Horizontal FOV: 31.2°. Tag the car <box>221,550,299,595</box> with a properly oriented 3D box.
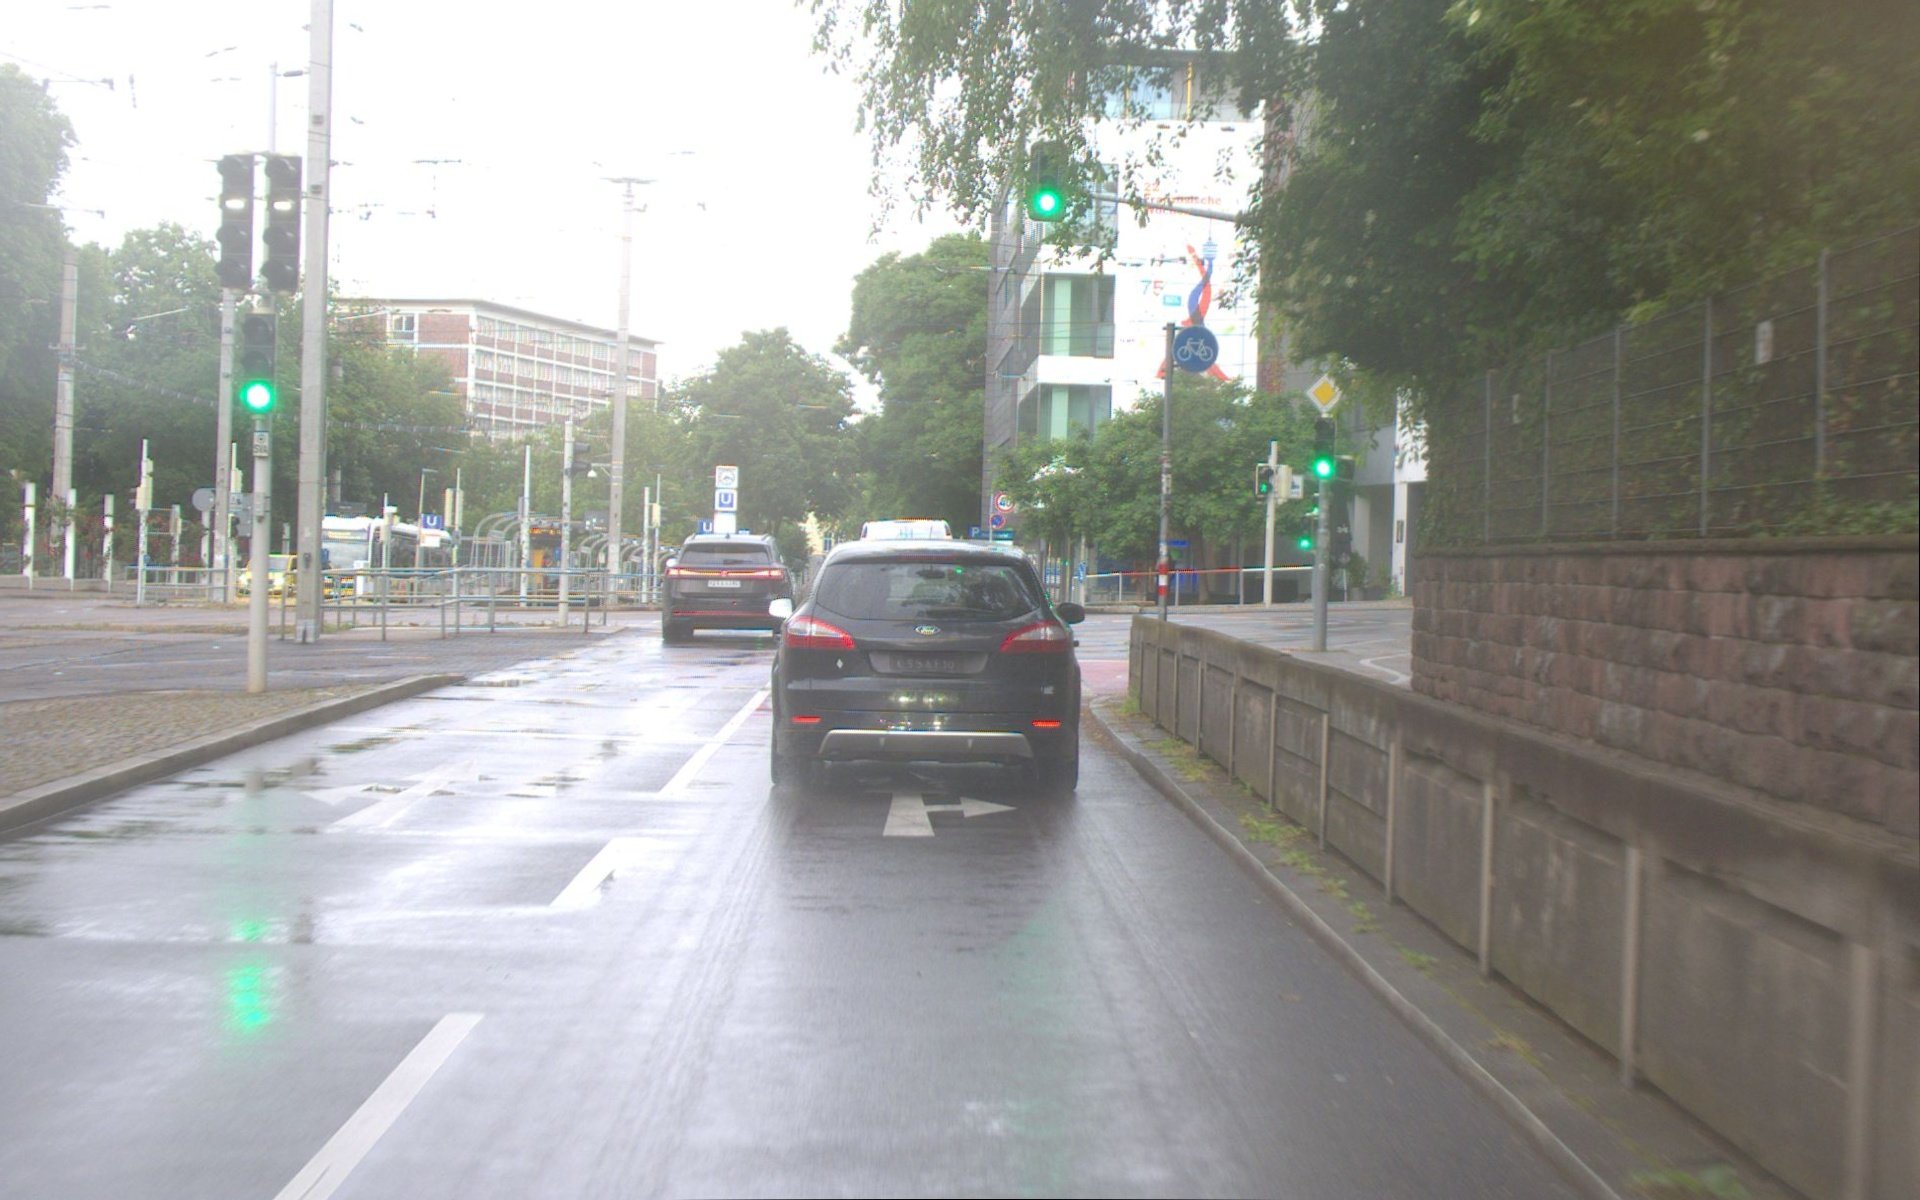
[{"bbox_3d":[-26.320,-1.058,129.441,1.993,1.640,4.537,0,1,0],"label":"car"}]

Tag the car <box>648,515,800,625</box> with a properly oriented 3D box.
[{"bbox_3d":[-3.393,-0.452,49.844,2.098,1.500,4.732,0,1,-3],"label":"car"}]

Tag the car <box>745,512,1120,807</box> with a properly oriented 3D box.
[{"bbox_3d":[-0.179,0.280,21.321,2.036,1.579,4.392,2,1,-1],"label":"car"}]

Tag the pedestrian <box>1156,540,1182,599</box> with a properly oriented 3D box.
[{"bbox_3d":[5.551,-0.807,91.357,0.542,1.558,0.521,1,1,20],"label":"pedestrian"}]

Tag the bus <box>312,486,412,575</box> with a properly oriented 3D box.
[{"bbox_3d":[-23.195,-2.676,133.921,3.076,3.289,12.526,0,1,-6],"label":"bus"}]

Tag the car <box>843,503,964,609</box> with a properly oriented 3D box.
[{"bbox_3d":[-1.010,-0.839,63.843,2.036,1.833,4.392,2,1,1],"label":"car"}]
